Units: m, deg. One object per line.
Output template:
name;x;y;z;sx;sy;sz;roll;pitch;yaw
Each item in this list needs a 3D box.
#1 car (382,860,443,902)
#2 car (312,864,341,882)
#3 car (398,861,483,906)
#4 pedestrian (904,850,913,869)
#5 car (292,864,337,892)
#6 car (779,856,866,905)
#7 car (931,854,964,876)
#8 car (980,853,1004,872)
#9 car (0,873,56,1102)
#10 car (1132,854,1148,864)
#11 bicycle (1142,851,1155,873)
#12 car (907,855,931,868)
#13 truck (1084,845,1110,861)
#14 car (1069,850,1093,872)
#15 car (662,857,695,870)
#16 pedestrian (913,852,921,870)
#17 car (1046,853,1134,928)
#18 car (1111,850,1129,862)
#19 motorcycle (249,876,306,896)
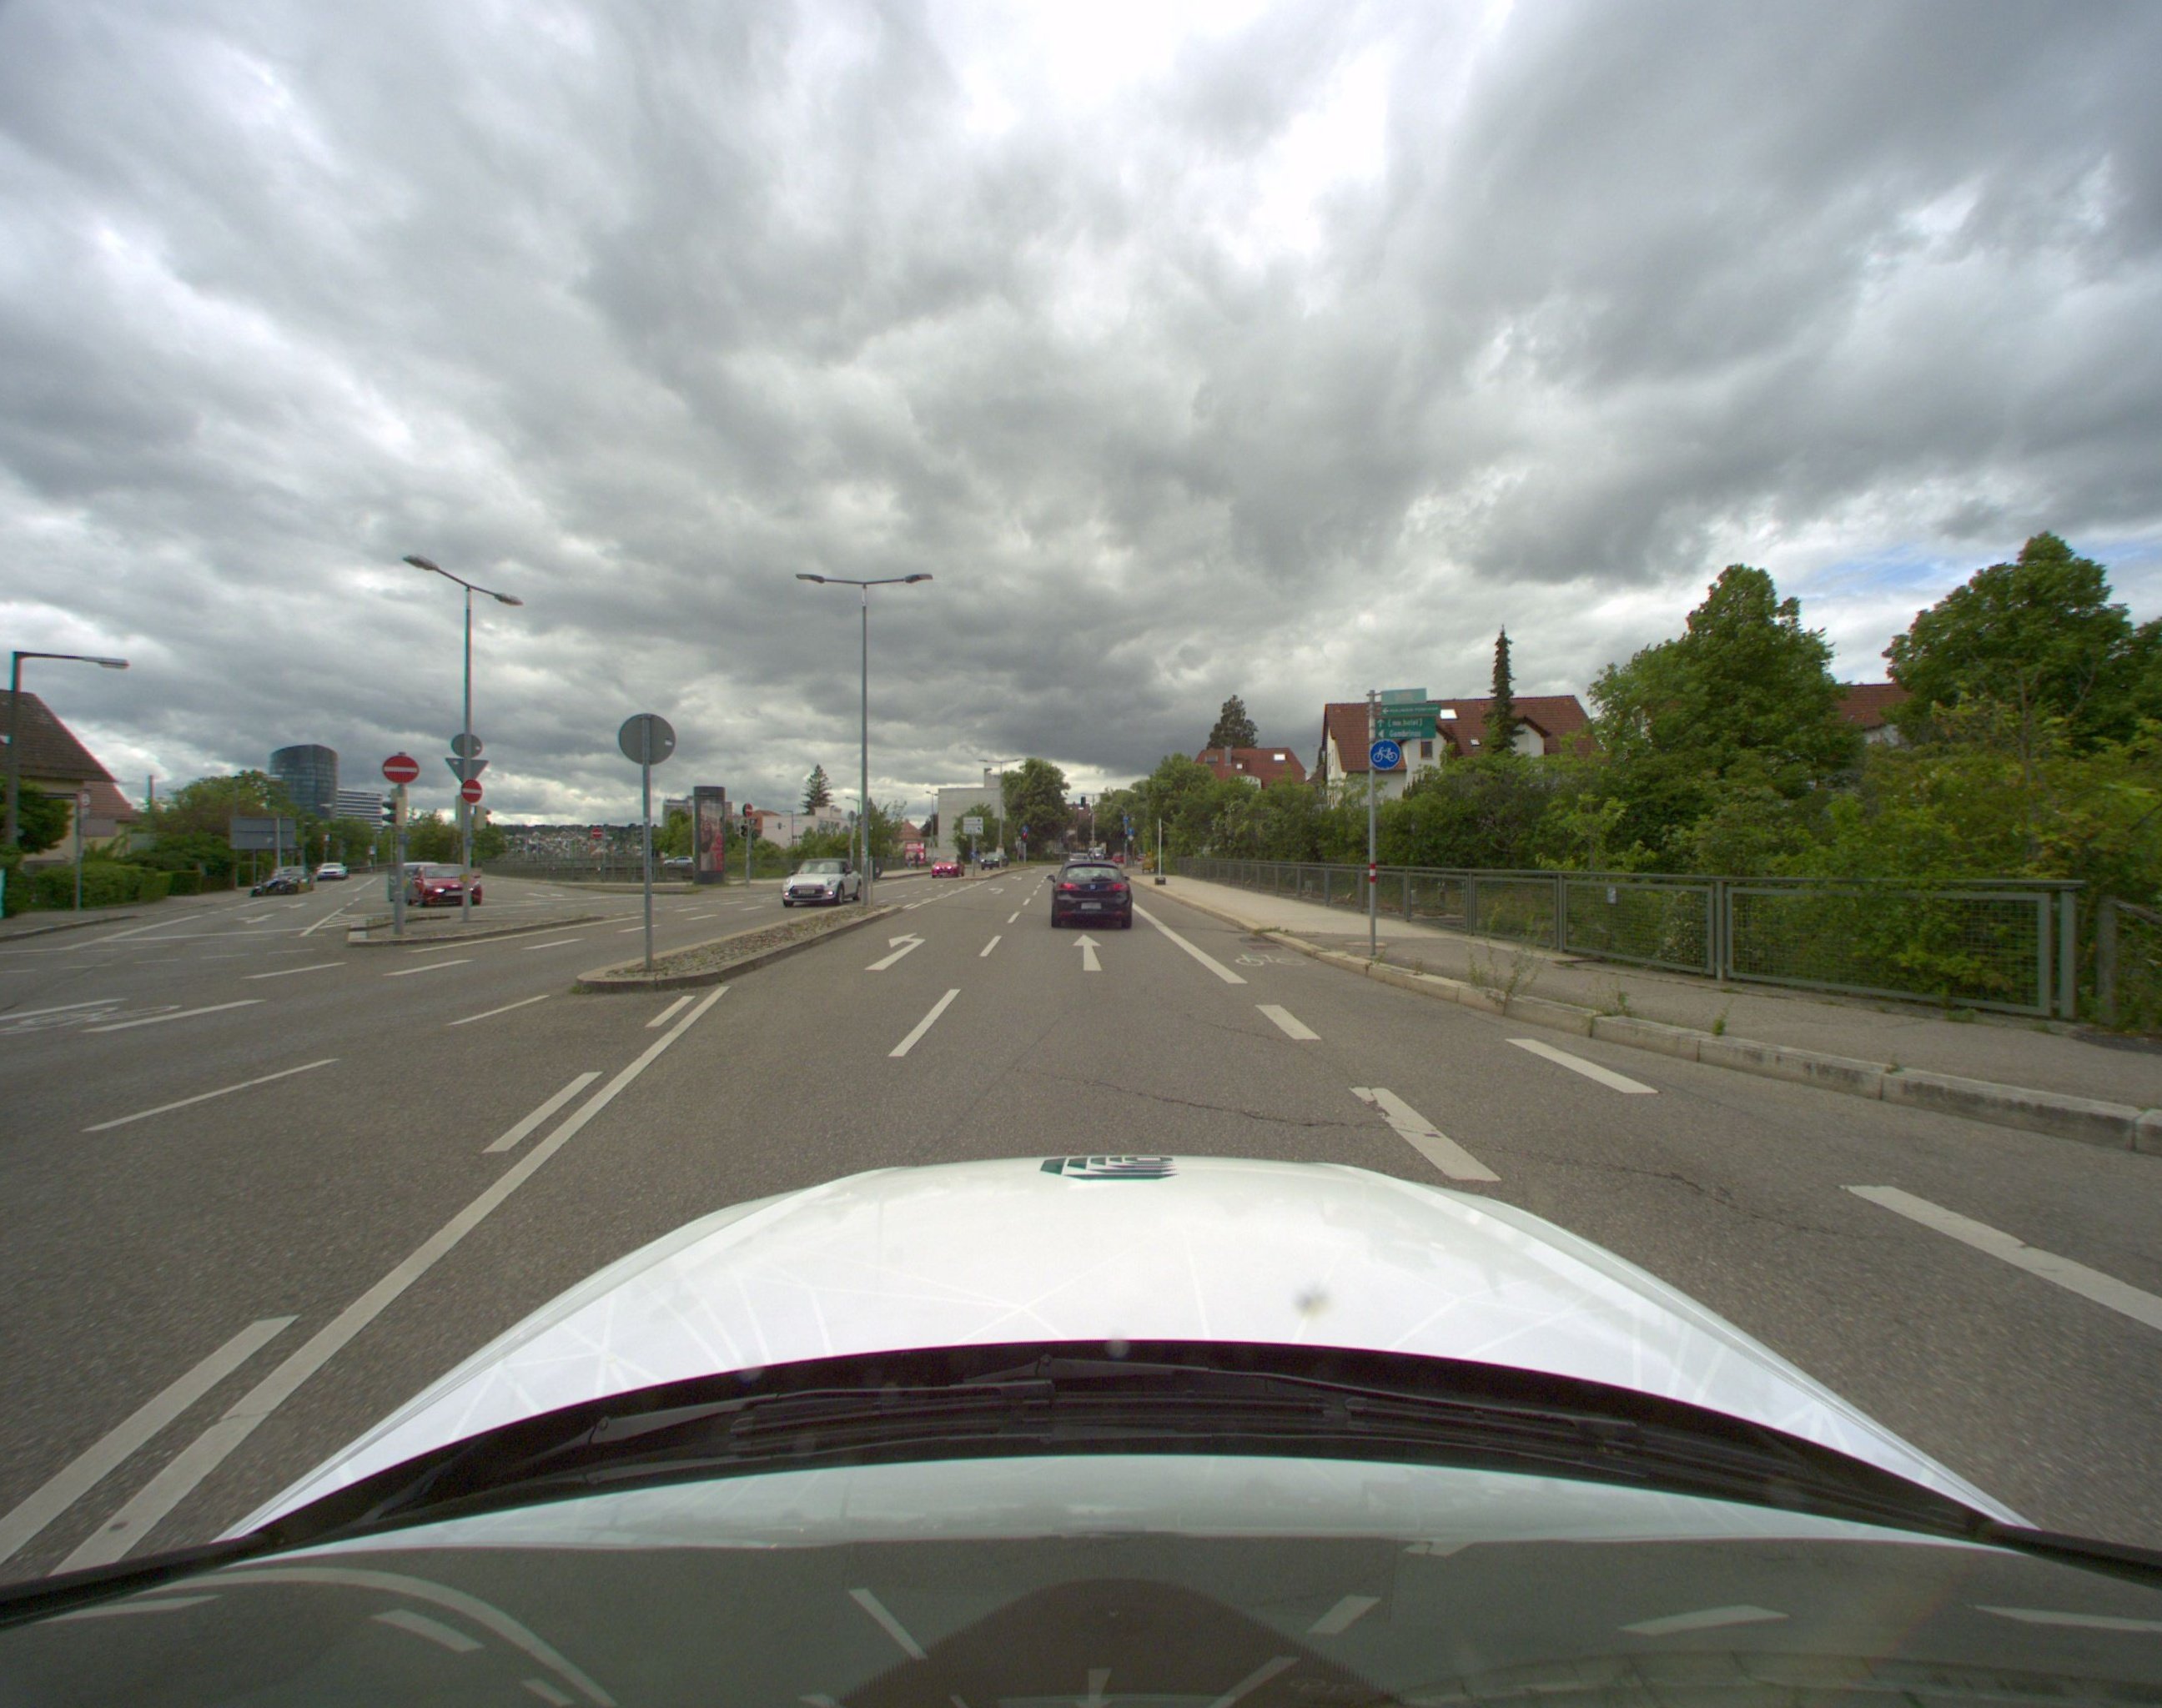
car;-27.385;1.094;33.317;1.657;1.535;4.079;-2;0;-43
car;-71.079;1.803;76.694;1.911;1.607;4.322;0;0;-44
car;-23.010;1.048;29.213;3.656;1.447;1.786;-2;0;42
pedestrian;-15.156;0.495;71.675;0.655;1.633;0.831;1;0;-7
car;-48.234;1.465;51.246;2.011;1.607;4.323;0;0;-44
car;-8.057;0.781;25.692;1.639;1.409;3.815;-1;0;-3
car;-8.763;0.707;53.761;1.716;1.448;4.063;0;0;-3
car;-8.179;0.757;75.217;1.818;1.626;4.274;-2;0;-3
car;-7.355;0.842;3.233;1.717;1.391;3.912;-2;0;-4
car;10.193;0.775;140.650;1.979;1.684;4.016;-1;0;15
bicycle;4.771;0.541;57.868;0.887;1.510;2.786;-1;0;5
car;-25.837;1.185;130.146;1.978;2.013;4.018;2;0;18
truck;2.405;-0.093;118.838;2.110;2.264;6.833;-1;0;15
car;0.033;0.563;65.558;1.813;1.699;4.253;-1;0;1
car;-56.344;1.341;114.044;4.014;1.662;1.718;0;2;-33
pedestrian;-14.436;0.621;71.691;0.655;1.633;1.068;1;0;-7
car;0.279;0.741;18.518;1.752;1.448;3.717;2;0;3
car;5.128;0.274;107.893;1.937;1.481;4.248;-1;0;-3
motorcycle;-44.790;1.758;45.415;0.695;0.999;2.131;-5;-2;18
